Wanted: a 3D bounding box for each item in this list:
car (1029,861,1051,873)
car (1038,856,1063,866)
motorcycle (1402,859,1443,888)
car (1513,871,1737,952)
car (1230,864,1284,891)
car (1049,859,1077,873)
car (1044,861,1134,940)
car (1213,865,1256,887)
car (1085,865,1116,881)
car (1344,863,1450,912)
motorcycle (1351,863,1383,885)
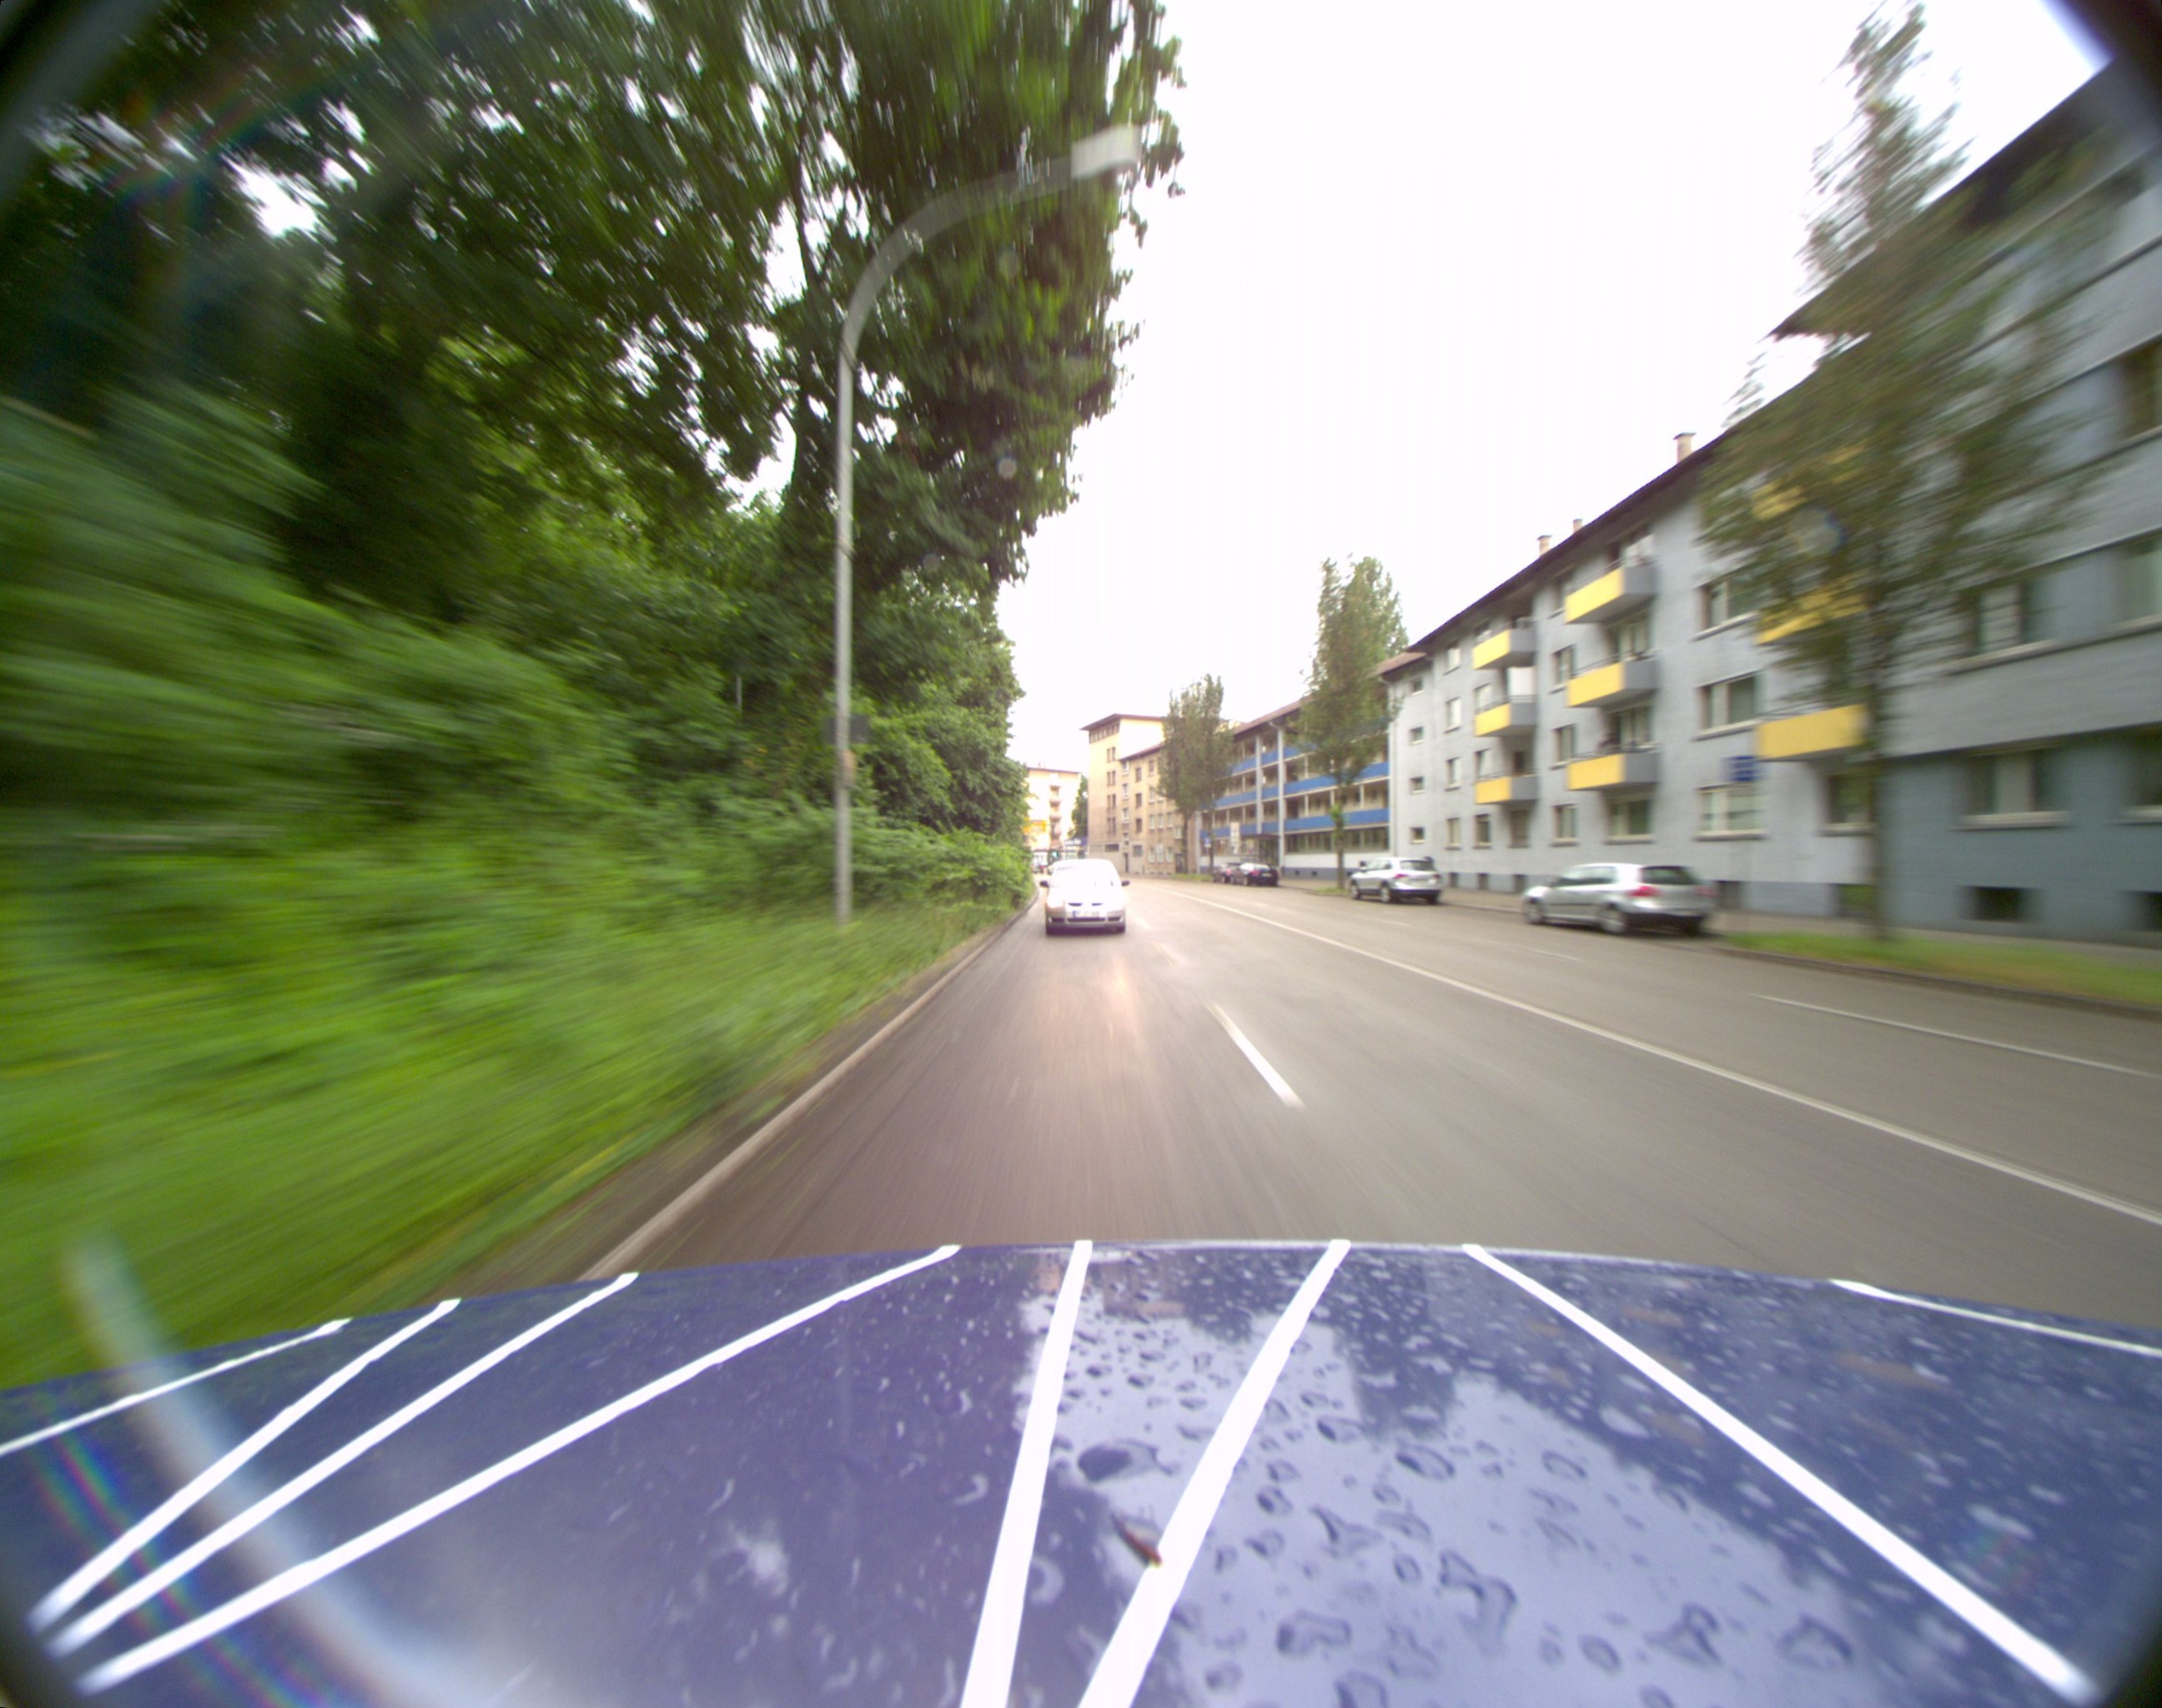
[{"bbox_3d":[-5.053,1.574,92.216,1.687,1.439,3.814,1,-1,-19],"label":"car"},{"bbox_3d":[-5.326,1.160,131.897,4.269,1.638,1.763,1,1,43],"label":"car"},{"bbox_3d":[17.450,0.986,38.896,0.677,1.406,2.234,-3,0,-11],"label":"motorcycle"},{"bbox_3d":[11.432,1.136,16.394,1.729,1.444,4.204,0,0,-2],"label":"car"},{"bbox_3d":[10.495,1.364,45.761,1.826,1.431,4.891,1,0,-4],"label":"car"},{"bbox_3d":[-1.977,1.273,82.067,1.827,1.507,5.021,1,-1,-16],"label":"car"},{"bbox_3d":[0.086,0.935,17.136,1.753,1.510,3.999,-2,0,-2],"label":"car"},{"bbox_3d":[10.282,1.469,51.249,1.785,1.394,4.087,1,-1,-4],"label":"car"},{"bbox_3d":[1.804,1.708,70.538,1.759,1.417,4.532,0,-1,-13],"label":"car"},{"bbox_3d":[11.275,1.144,27.504,1.768,1.594,4.532,0,0,-3],"label":"car"},{"bbox_3d":[16.572,1.147,44.123,0.677,1.246,2.235,-3,0,-8],"label":"motorcycle"}]
